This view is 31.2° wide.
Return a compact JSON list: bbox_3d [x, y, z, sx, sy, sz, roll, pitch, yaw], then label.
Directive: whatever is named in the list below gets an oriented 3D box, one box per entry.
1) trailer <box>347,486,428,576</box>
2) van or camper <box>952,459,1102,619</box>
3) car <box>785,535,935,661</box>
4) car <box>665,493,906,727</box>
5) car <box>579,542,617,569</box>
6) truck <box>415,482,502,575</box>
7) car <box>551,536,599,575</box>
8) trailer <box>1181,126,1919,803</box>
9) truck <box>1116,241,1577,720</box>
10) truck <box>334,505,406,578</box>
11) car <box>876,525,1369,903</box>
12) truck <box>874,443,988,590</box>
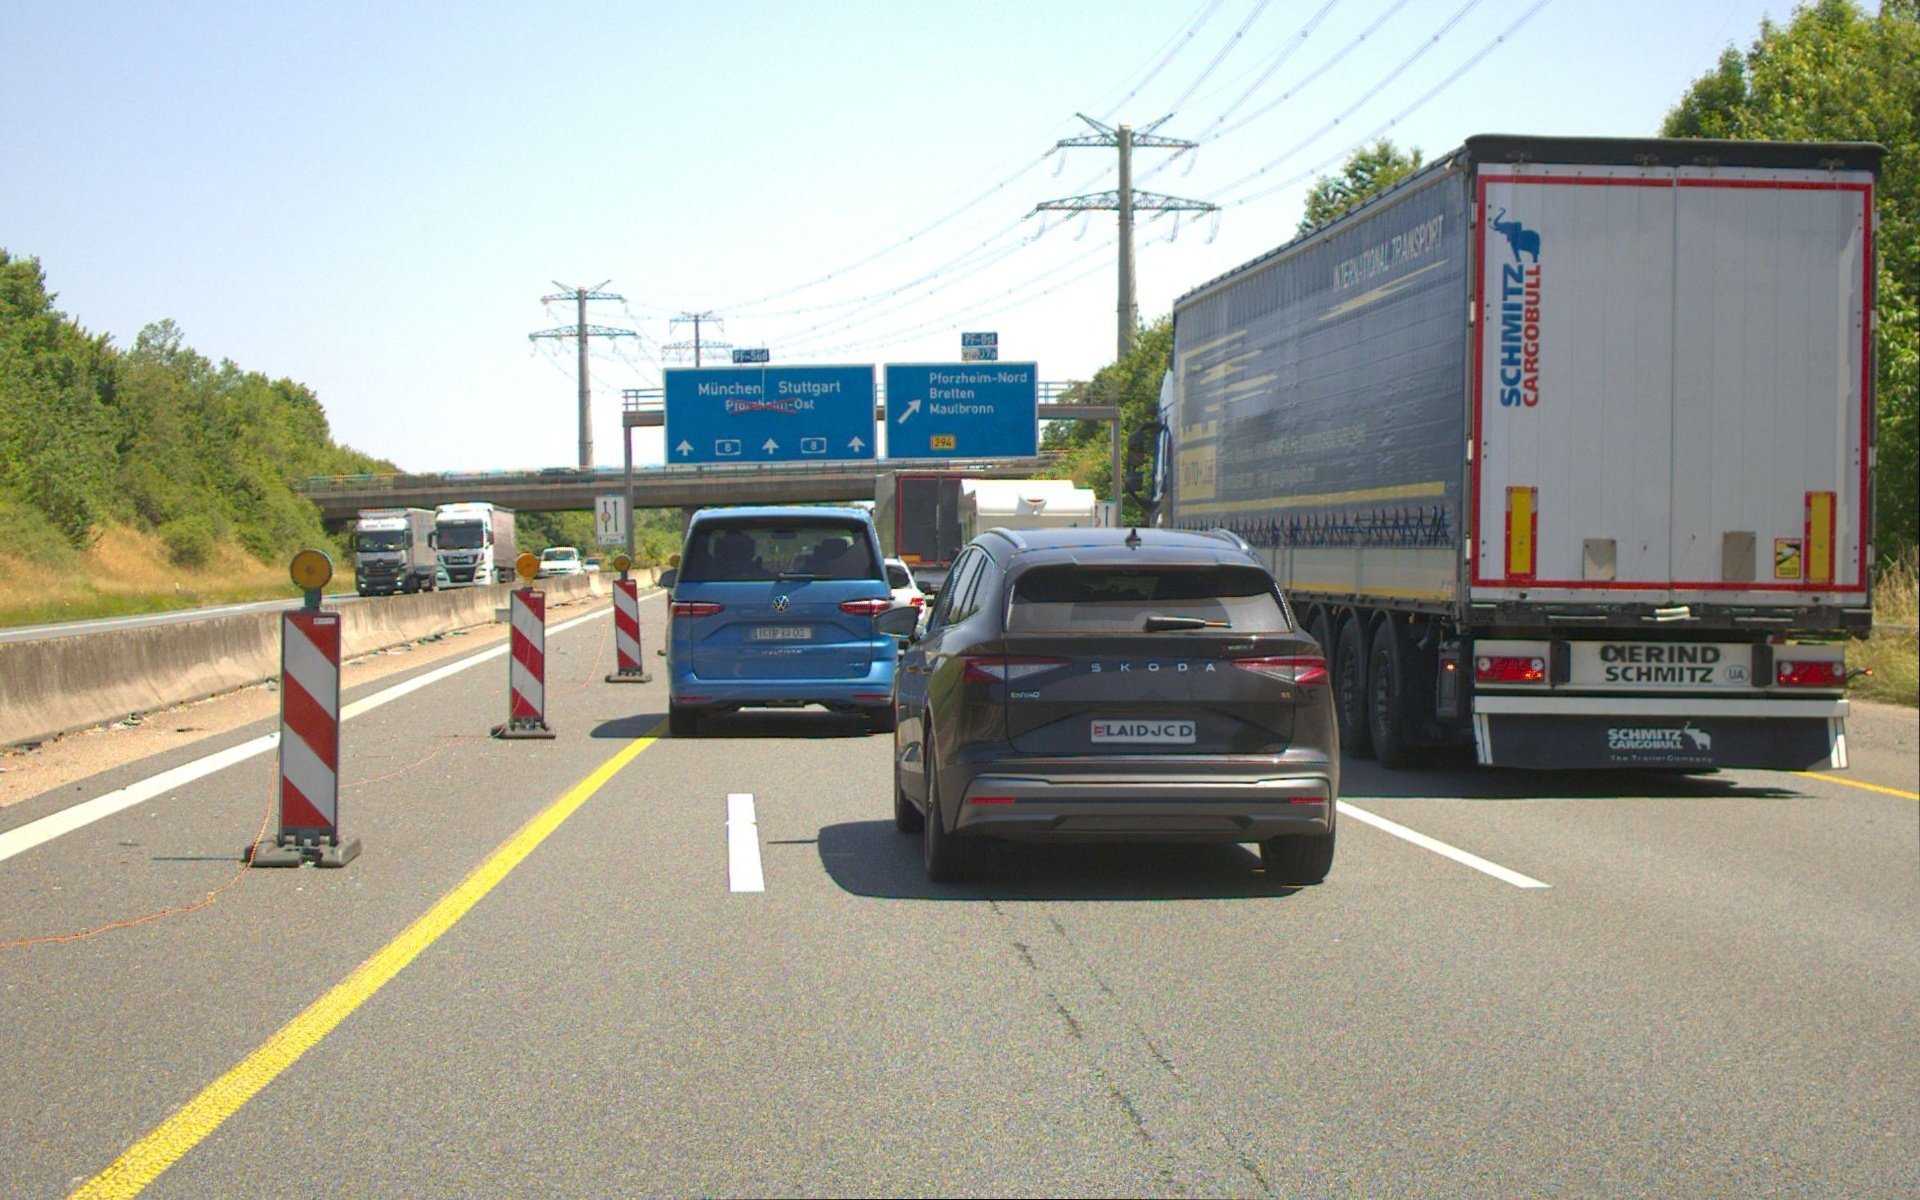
[{"bbox_3d":[-27.772,-3.358,167.148,2.480,4.165,12.087,-1,1,-3],"label":"trailer"},{"bbox_3d":[1.267,-1.207,68.009,2.586,2.958,6.085,1,1,-2],"label":"van or camper"},{"bbox_3d":[-1.453,-0.063,48.333,1.895,1.504,4.444,2,3,-4],"label":"car"},{"bbox_3d":[-1.542,0.077,29.639,1.895,1.835,4.443,1,0,-4],"label":"car"},{"bbox_3d":[-20.510,-2.557,194.993,1.762,1.466,4.634,-1,1,-1],"label":"car"},{"bbox_3d":[-23.473,-3.343,161.154,3.163,4.210,7.416,-1,1,-2],"label":"truck"},{"bbox_3d":[-18.444,-2.133,164.928,1.866,1.786,5.455,-1,1,-2],"label":"car"},{"bbox_3d":[4.027,-0.908,26.313,3.064,4.028,11.490,0,1,-4],"label":"trailer"},{"bbox_3d":[3.486,-1.084,33.255,3.024,4.073,7.797,0,1,-4],"label":"truck"},{"bbox_3d":[-27.316,-2.713,159.366,2.464,3.277,6.925,-1,1,-3],"label":"truck"},{"bbox_3d":[0.637,0.430,16.740,1.895,1.586,4.443,0,1,-4],"label":"car"},{"bbox_3d":[-0.993,-2.457,104.184,3.077,4.132,13.055,1,1,-2],"label":"truck"}]
